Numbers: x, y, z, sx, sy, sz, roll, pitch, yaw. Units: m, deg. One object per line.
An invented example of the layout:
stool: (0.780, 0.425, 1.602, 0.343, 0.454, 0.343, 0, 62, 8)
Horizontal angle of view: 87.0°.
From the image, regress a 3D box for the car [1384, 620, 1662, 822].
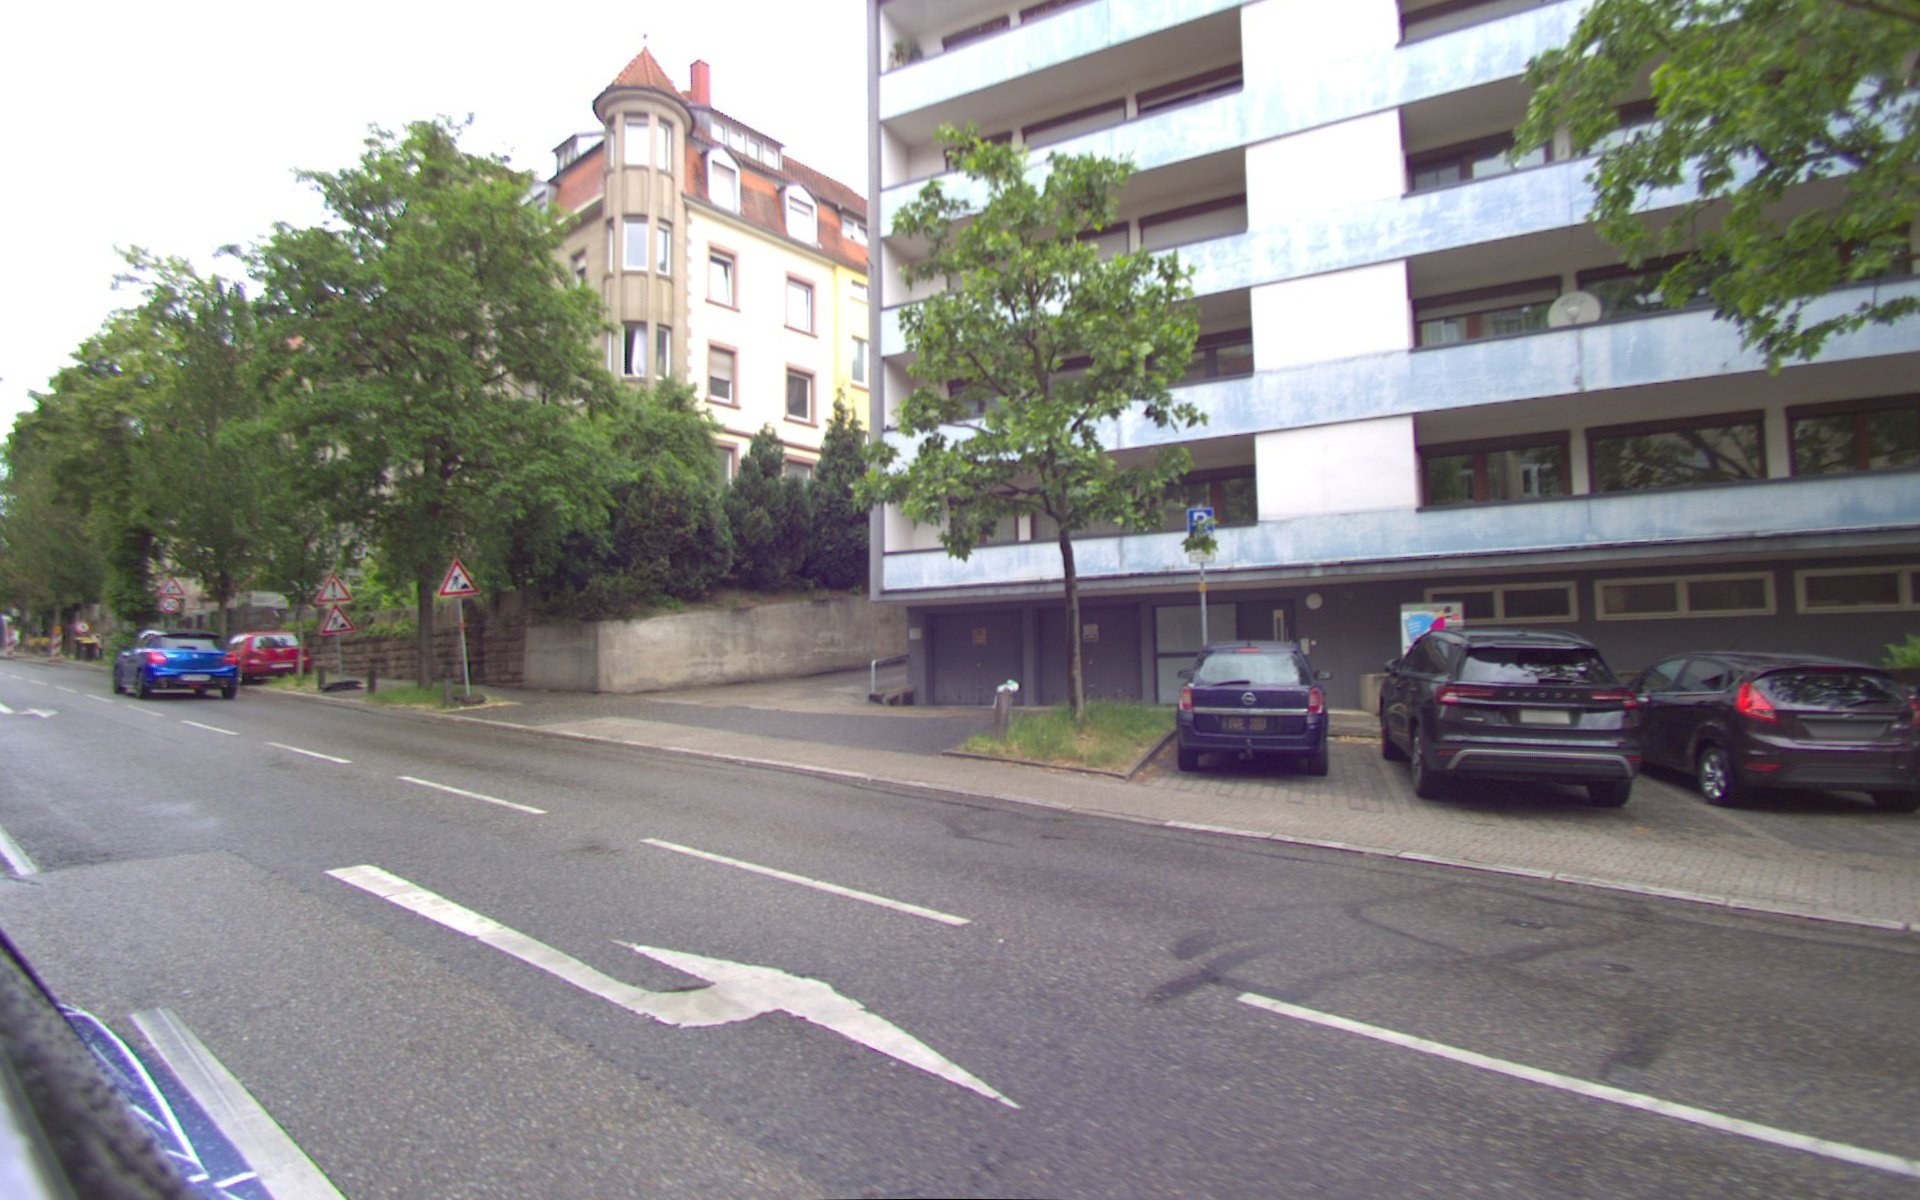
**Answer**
car: (5.709, 1.079, 10.859, 1.841, 1.685, 4.351, 0, -2, 19)

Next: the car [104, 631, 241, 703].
car: (-17.482, 1.443, 22.424, 3.741, 1.462, 1.697, -2, -4, 42)

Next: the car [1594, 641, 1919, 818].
car: (8.241, 1.179, 10.585, 1.683, 1.441, 3.972, 0, -2, 16)

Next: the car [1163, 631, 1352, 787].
car: (3.828, 1.191, 12.805, 1.928, 1.586, 4.342, 0, -2, 19)

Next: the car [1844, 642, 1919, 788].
car: (10.225, 1.130, 9.222, 1.732, 1.441, 3.913, 0, -2, 16)

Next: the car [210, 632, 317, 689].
car: (-19.668, 1.652, 28.528, 4.063, 1.462, 1.596, -2, -2, 42)

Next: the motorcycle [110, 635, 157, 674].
motorcycle: (-32.089, 2.087, 39.275, 3.058, 1.425, 0.792, -2, -1, 39)
